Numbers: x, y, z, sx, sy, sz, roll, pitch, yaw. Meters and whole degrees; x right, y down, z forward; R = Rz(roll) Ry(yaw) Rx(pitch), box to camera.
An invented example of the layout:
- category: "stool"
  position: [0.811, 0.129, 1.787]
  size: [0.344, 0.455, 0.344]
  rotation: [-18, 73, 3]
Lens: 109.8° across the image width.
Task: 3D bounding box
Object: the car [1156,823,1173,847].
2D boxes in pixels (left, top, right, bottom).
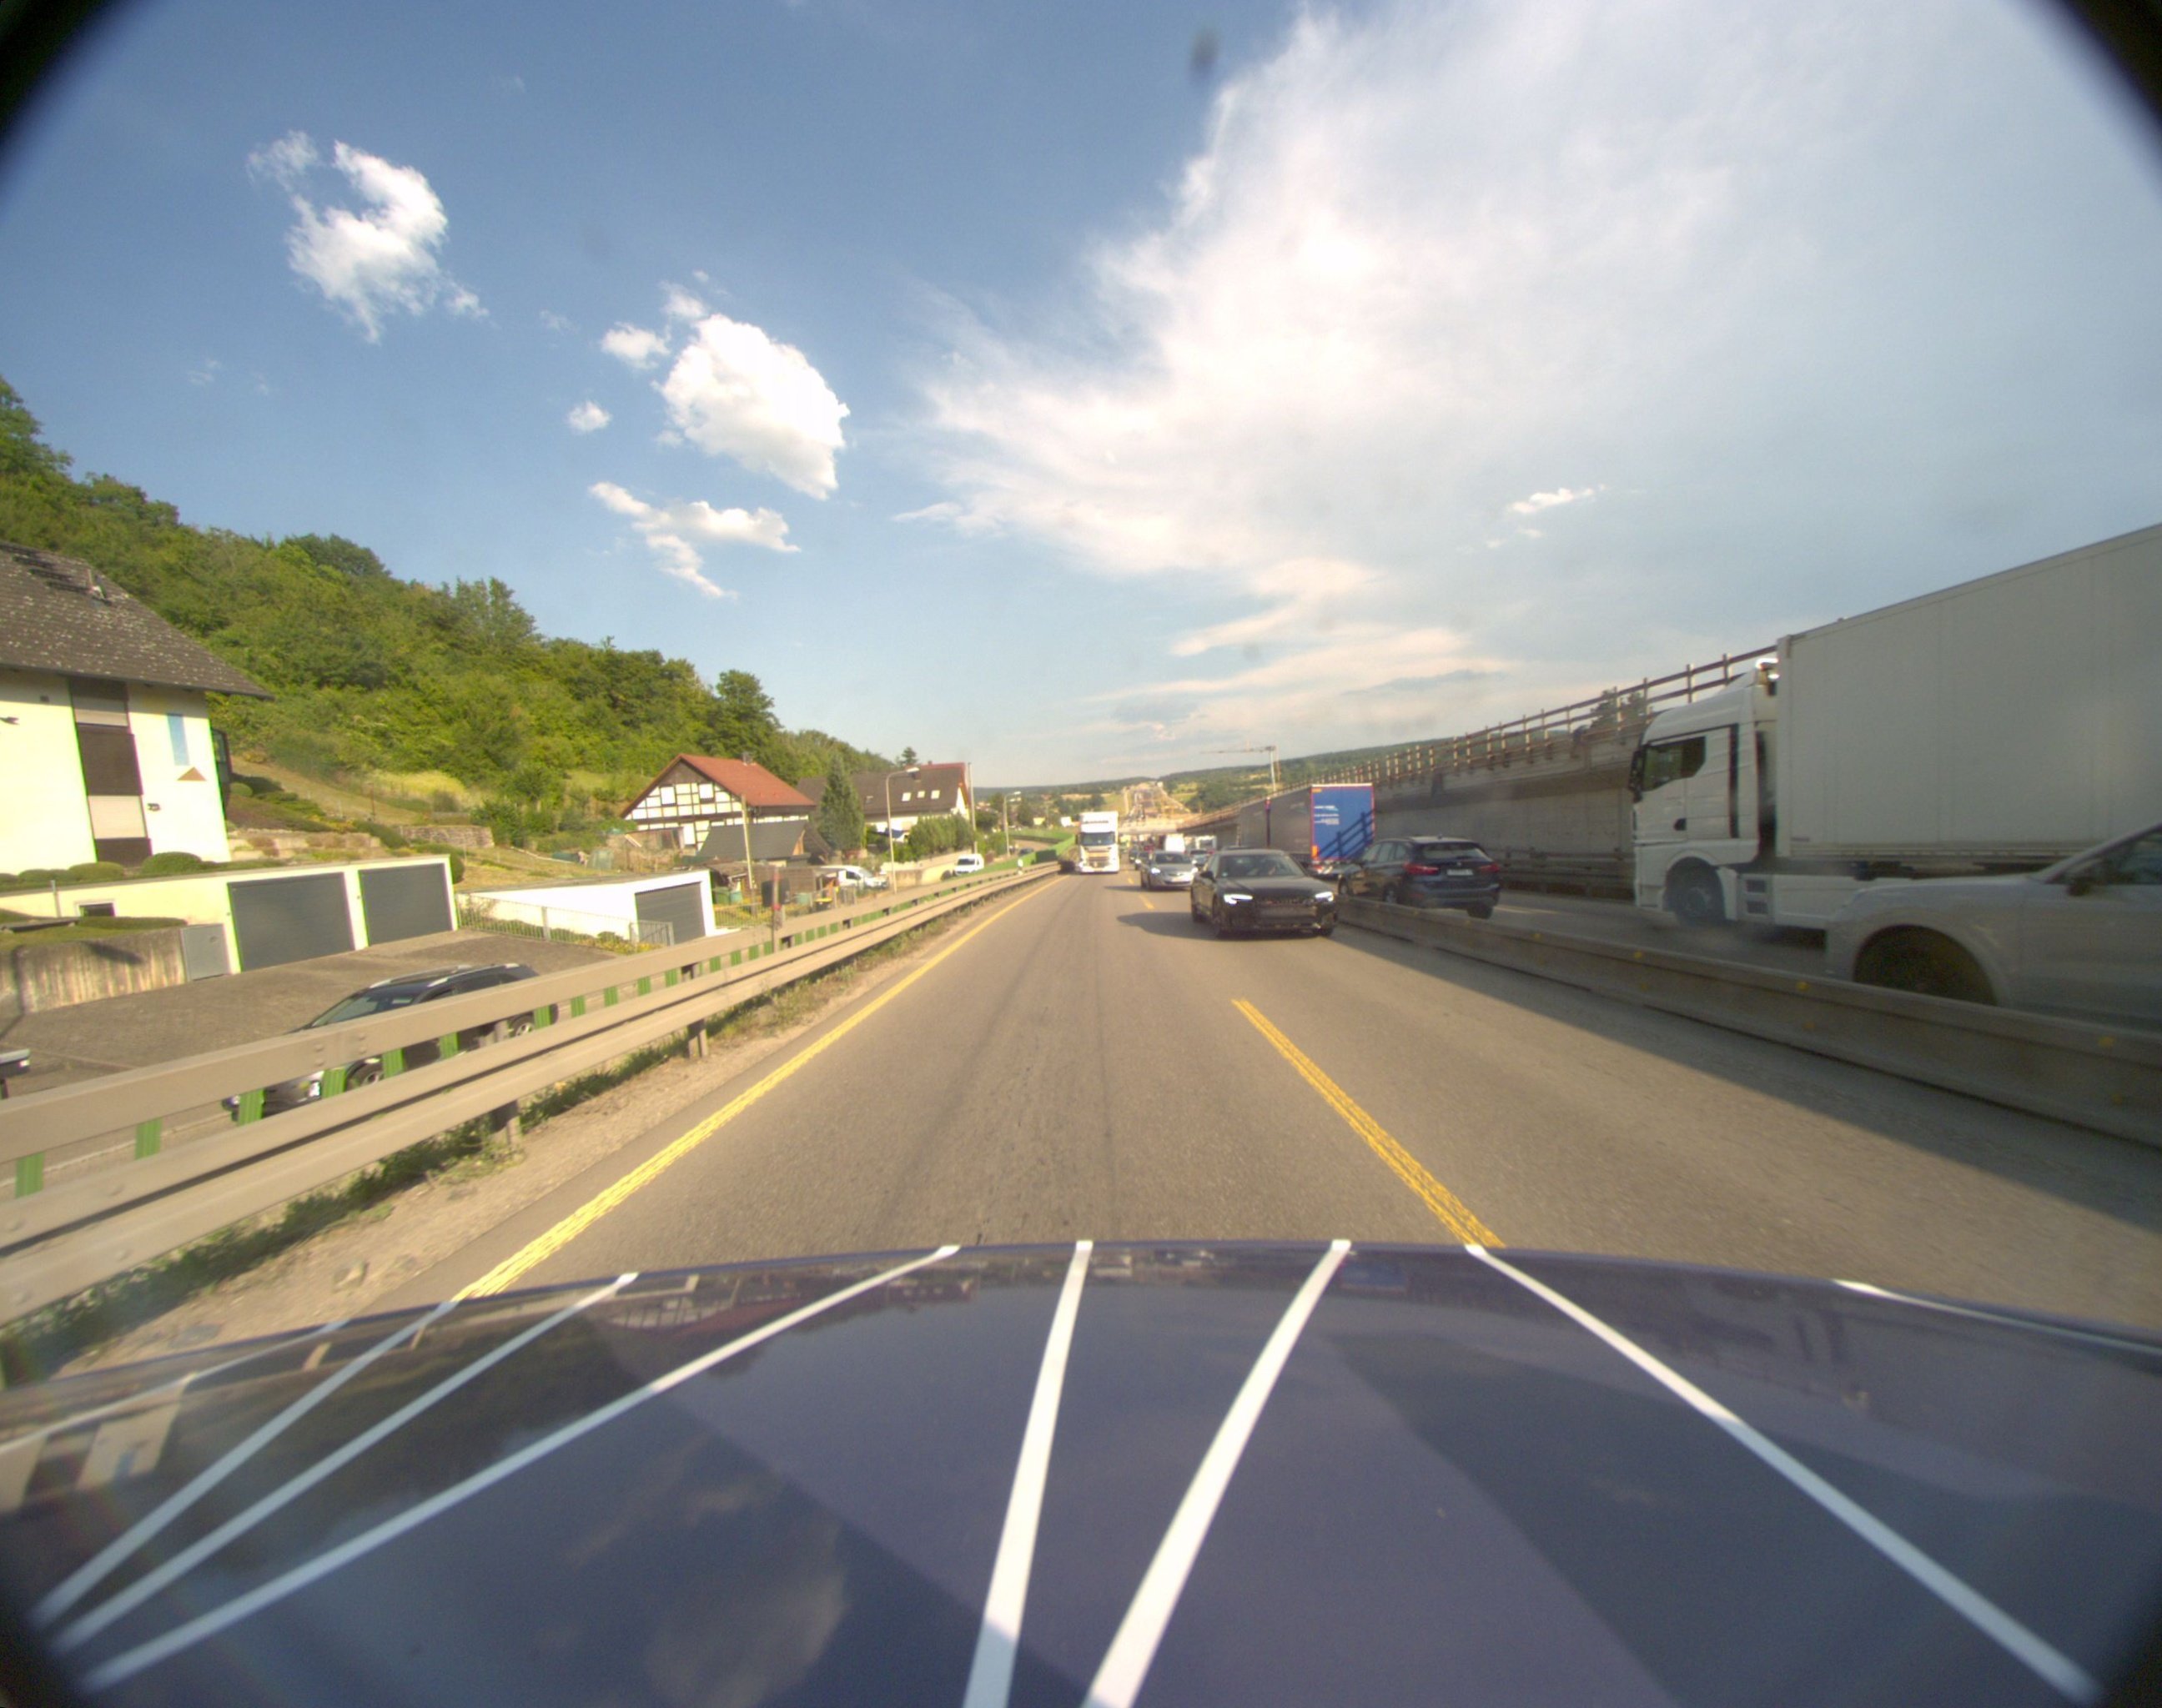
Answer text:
- category: "car"
  position: [19.371, -4.413, 177.752]
  size: [3.327, 5.356, 14.300]
  rotation: [-1, 1, 4]

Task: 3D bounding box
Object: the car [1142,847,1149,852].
- category: "car"
  position: [16.864, -1.184, 198.404]
  size: [1.712, 1.312, 3.664]
  rotation: [-5, 1, 3]

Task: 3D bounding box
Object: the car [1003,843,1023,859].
- category: "car"
  position: [-8.672, -0.375, 97.621]
  size: [1.998, 2.002, 4.000]
  rotation: [-1, 1, 2]

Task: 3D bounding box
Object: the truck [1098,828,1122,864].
- category: "truck"
  position: [3.765, -0.979, 100.345]
  size: [2.788, 4.504, 7.190]
  rotation: [-4, -1, 1]

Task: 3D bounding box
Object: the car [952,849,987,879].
- category: "car"
  position: [-8.359, 0.727, 57.301]
  size: [1.824, 1.931, 4.283]
  rotation: [-3, 2, 2]

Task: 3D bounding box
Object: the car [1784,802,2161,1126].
- category: "car"
  position: [6.661, 0.558, 3.591]
  size: [2.013, 1.645, 4.973]
  rotation: [-4, 1, 0]

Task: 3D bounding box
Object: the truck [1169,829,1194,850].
- category: "truck"
  position: [15.729, -2.197, 119.356]
  size: [3.242, 3.127, 6.489]
  rotation: [-1, 1, 1]

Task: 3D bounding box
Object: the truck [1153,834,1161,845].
- category: "truck"
  position: [22.703, -4.351, 227.573]
  size: [1.998, 3.154, 5.763]
  rotation: [-1, 1, 2]

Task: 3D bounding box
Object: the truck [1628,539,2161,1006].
- category: "truck"
  position: [10.219, -0.795, 9.770]
  size: [2.461, 4.291, 5.473]
  rotation: [-1, 1, 1]

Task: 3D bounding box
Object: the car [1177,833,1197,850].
- category: "car"
  position: [14.624, -1.713, 105.327]
  size: [2.214, 2.011, 3.973]
  rotation: [-5, 1, 3]

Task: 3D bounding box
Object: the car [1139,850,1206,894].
- category: "car"
  position: [3.294, 0.597, 28.052]
  size: [1.810, 1.478, 4.117]
  rotation: [-1, 1, -2]

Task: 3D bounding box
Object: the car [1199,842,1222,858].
- category: "car"
  position: [12.596, -0.378, 74.082]
  size: [1.712, 1.379, 4.001]
  rotation: [-5, 1, 5]

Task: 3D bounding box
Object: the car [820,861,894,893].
- category: "car"
  position: [-13.819, 1.419, 47.038]
  size: [3.996, 1.829, 1.750]
  rotation: [0, 3, 3]

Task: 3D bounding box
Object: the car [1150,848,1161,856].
- category: "car"
  position: [13.896, -0.408, 141.585]
  size: [1.712, 1.312, 3.664]
  rotation: [-5, 1, 3]

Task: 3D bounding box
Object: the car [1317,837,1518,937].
- category: "car"
  position: [6.534, 0.523, 15.443]
  size: [1.885, 1.597, 4.730]
  rotation: [-4, 1, 0]

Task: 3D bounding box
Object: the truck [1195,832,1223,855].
- category: "truck"
  position: [14.284, -1.193, 85.048]
  size: [2.279, 2.288, 6.064]
  rotation: [-5, 1, 3]

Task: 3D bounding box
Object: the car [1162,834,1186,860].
- category: "car"
  position: [9.633, -0.710, 78.688]
  size: [2.001, 2.601, 5.614]
  rotation: [-1, 1, 2]

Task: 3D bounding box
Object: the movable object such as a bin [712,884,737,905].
- category: "movable object such as a bin"
  position: [-16.297, 1.852, 34.712]
  size: [0.791, 0.896, 0.680]
  rotation: [-1, 1, 1]

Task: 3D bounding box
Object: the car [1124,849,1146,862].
- category: "car"
  position: [6.551, 0.166, 92.708]
  size: [2.000, 1.565, 3.997]
  rotation: [-2, 1, -6]

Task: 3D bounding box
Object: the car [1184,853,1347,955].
- category: "car"
  position: [3.121, 0.748, 14.033]
  size: [1.945, 1.472, 5.222]
  rotation: [-1, 0, 2]

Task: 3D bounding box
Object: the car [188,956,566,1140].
- category: "car"
  position: [-11.427, 3.031, 12.923]
  size: [1.866, 1.775, 4.498]
  rotation: [-2, 3, 6]

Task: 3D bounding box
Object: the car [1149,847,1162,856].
- category: "car"
  position: [11.503, -0.376, 117.130]
  size: [1.712, 1.312, 3.664]
  rotation: [-5, 1, 3]

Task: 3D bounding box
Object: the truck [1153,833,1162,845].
- category: "truck"
  position: [20.229, -4.045, 202.038]
  size: [1.998, 3.154, 5.763]
  rotation: [-1, 1, 2]

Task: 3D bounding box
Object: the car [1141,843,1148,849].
- category: "car"
  position: [17.473, -2.224, 208.075]
  size: [1.712, 1.312, 3.664]
  rotation: [-5, 1, 3]

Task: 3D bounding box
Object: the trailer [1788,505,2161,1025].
- category: "trailer"
  position: [10.126, -0.705, 2.755]
  size: [2.462, 4.295, 13.773]
  rotation: [-1, 1, 1]

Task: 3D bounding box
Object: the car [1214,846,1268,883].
- category: "car"
  position: [7.429, 0.440, 35.684]
  size: [1.703, 1.567, 4.369]
  rotation: [-1, 1, 2]

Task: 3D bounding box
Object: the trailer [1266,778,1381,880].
- category: "trailer"
  position: [10.881, -1.077, 35.045]
  size: [2.822, 4.081, 8.286]
  rotation: [-1, 1, 2]

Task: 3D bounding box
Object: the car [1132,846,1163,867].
- category: "car"
  position: [5.002, 0.196, 57.719]
  size: [1.823, 1.433, 3.999]
  rotation: [-3, 0, -2]

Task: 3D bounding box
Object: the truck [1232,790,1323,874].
- category: "truck"
  position: [11.180, -1.196, 44.478]
  size: [2.822, 4.234, 10.580]
  rotation: [-1, 1, 2]

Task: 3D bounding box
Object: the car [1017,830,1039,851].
- category: "car"
  position: [-5.363, -1.375, 77.406]
  size: [1.999, 2.002, 3.999]
  rotation: [-1, 1, -1]

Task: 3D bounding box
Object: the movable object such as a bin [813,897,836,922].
- category: "movable object such as a bin"
  position: [-11.331, 2.433, 33.574]
  size: [0.723, 0.995, 0.677]
  rotation: [-4, 1, 2]

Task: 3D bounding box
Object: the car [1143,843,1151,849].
- category: "car"
  position: [15.257, -1.790, 176.235]
  size: [1.712, 1.312, 3.664]
  rotation: [-5, 1, 3]

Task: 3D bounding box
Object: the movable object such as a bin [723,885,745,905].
- category: "movable object such as a bin"
  position: [-16.390, 1.940, 35.904]
  size: [0.688, 0.896, 0.680]
  rotation: [-1, 1, 1]

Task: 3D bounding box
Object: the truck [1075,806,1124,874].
- category: "truck"
  position: [1.507, -0.950, 53.459]
  size: [2.892, 4.059, 13.894]
  rotation: [-1, 1, 3]

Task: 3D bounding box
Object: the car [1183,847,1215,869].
- category: "car"
  position: [8.525, 0.265, 55.091]
  size: [1.746, 1.432, 4.592]
  rotation: [-3, 0, 2]
